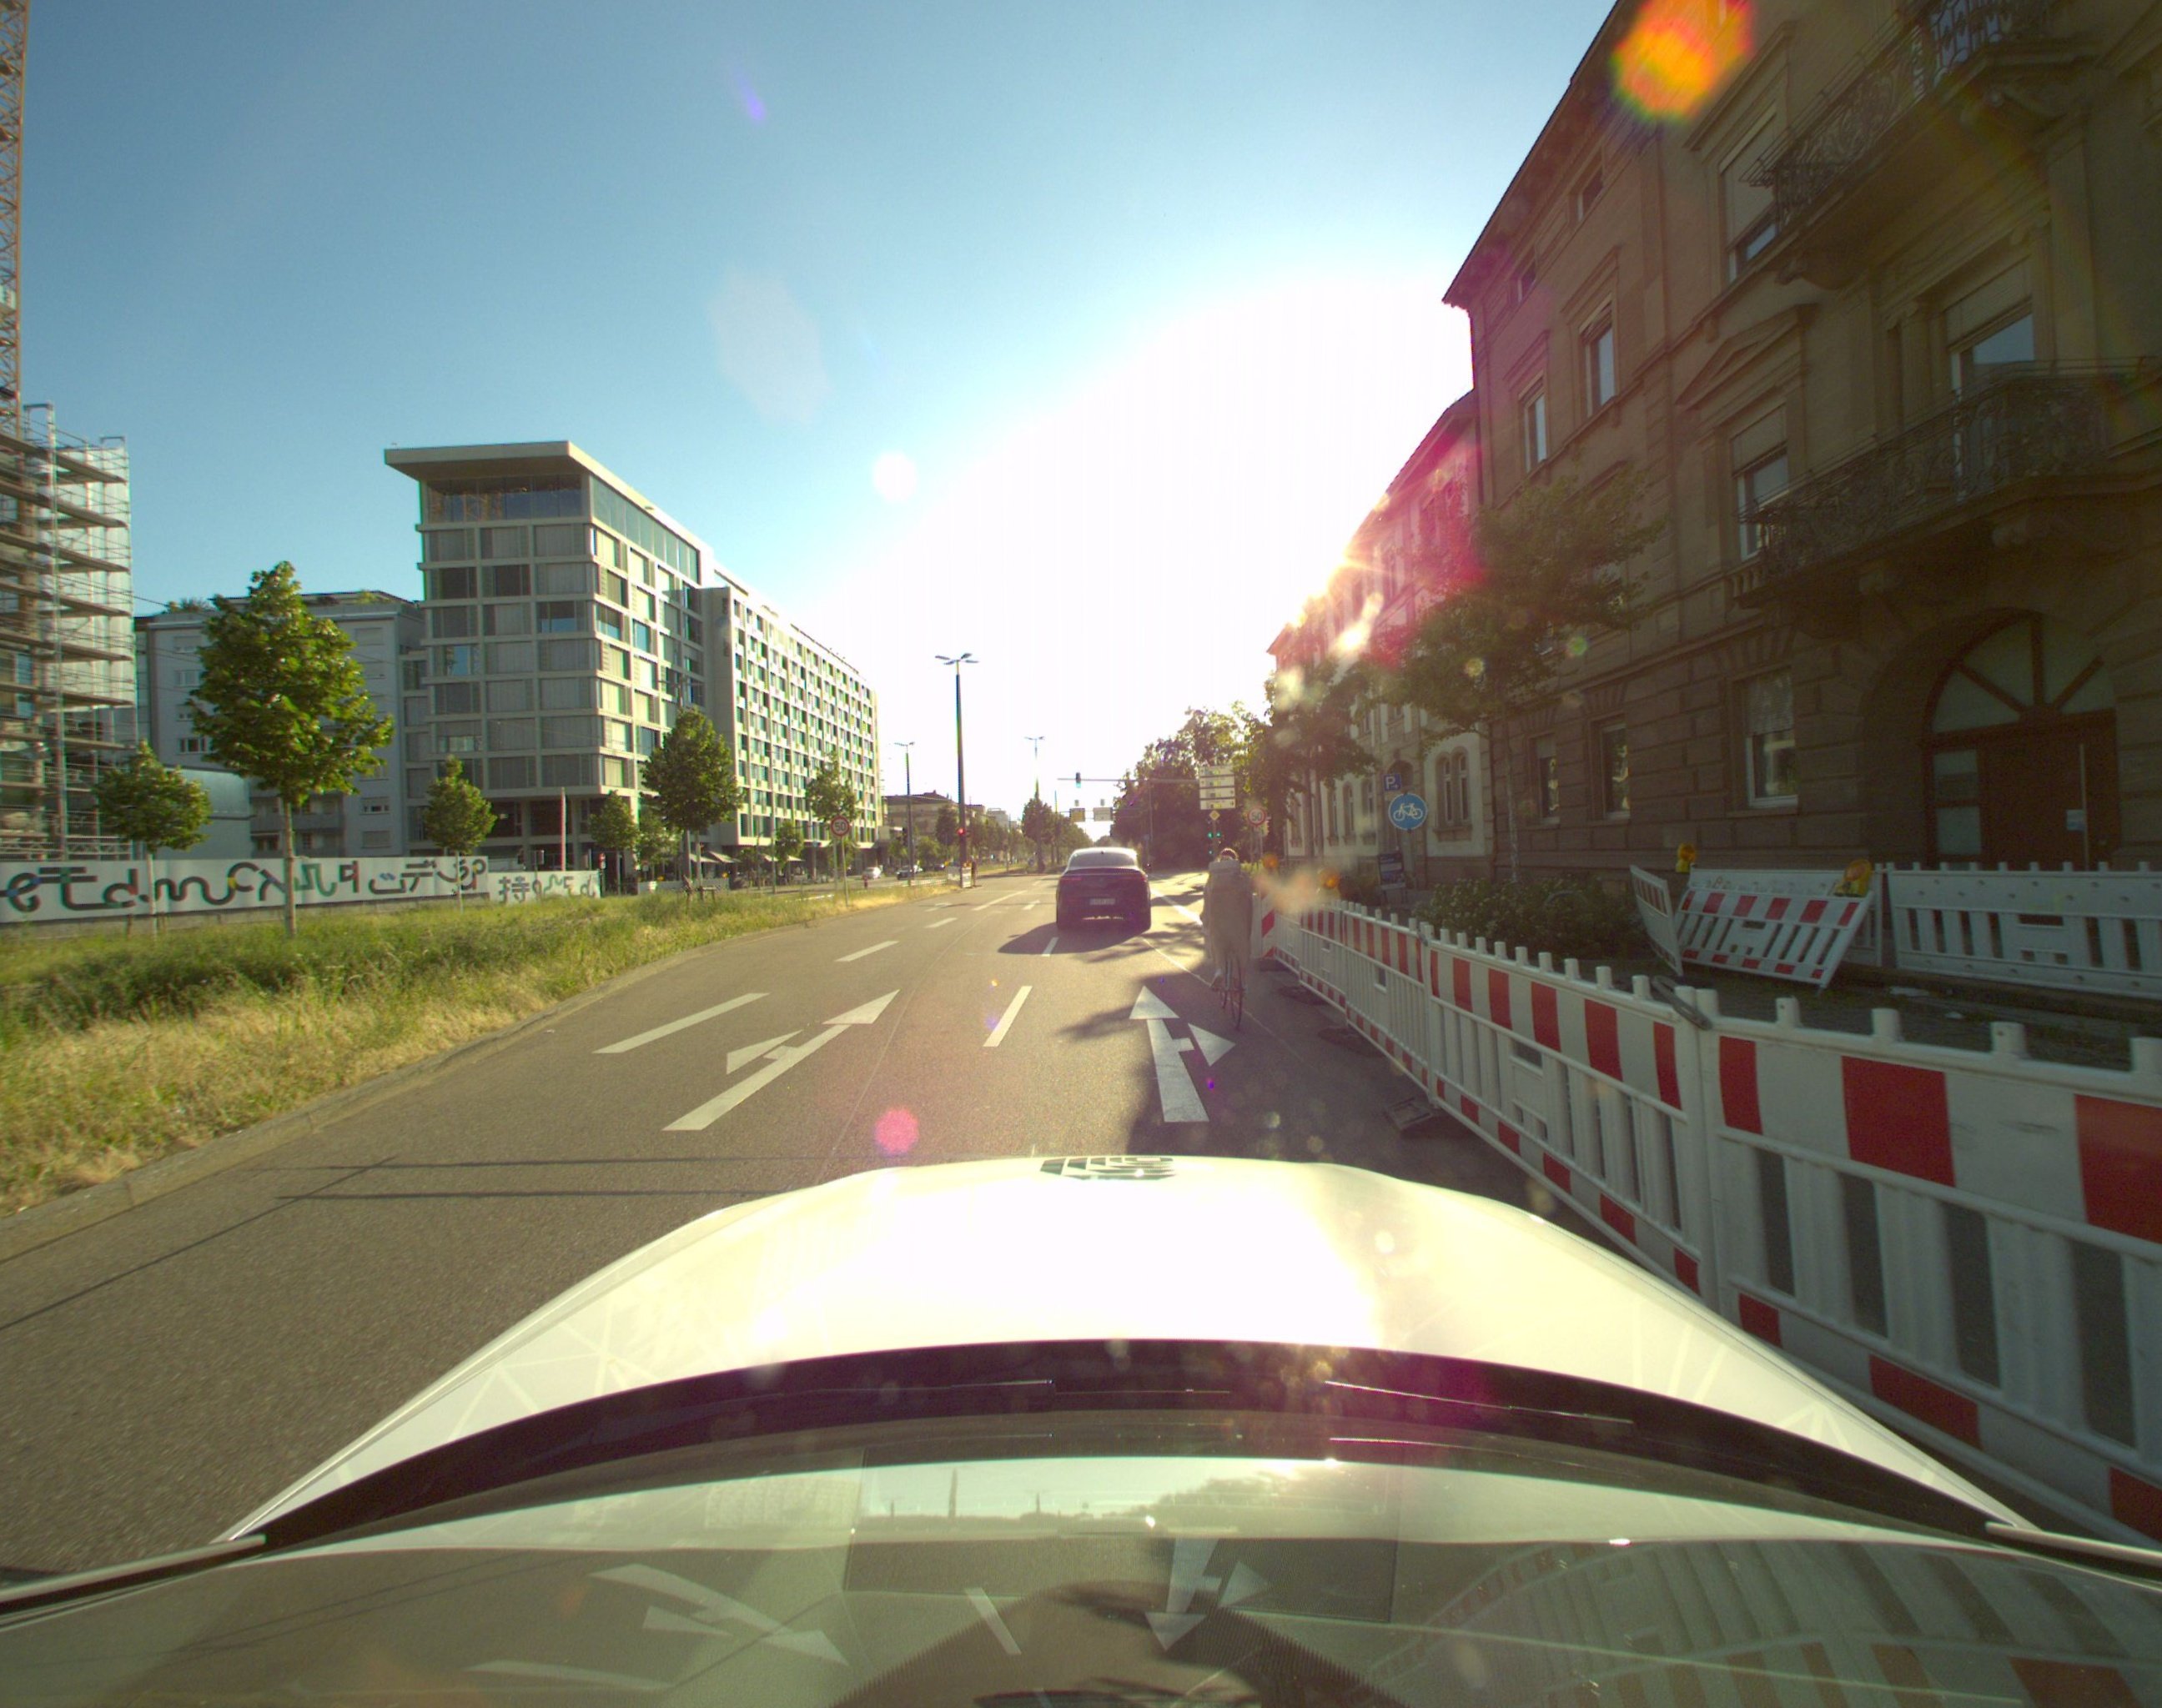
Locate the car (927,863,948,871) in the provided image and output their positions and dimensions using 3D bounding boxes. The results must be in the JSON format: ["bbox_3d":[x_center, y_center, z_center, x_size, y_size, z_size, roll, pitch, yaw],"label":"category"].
[{"bbox_3d":[-26.556,2.405,150.919,3.643,1.523,1.602,0,-1,-39],"label":"car"}]

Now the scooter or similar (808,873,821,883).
[{"bbox_3d":[-28.777,2.598,87.897,1.238,1.019,0.435,-3,0,2],"label":"scooter or similar"}]

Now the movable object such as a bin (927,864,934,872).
[{"bbox_3d":[-26.187,2.438,141.932,0.851,1.280,0.944,-2,0,16],"label":"movable object such as a bin"}]

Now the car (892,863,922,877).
[{"bbox_3d":[-18.404,1.704,86.298,1.884,1.343,4.852,-2,0,2],"label":"car"}]

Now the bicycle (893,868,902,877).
[{"bbox_3d":[-25.356,2.549,112.604,0.622,1.067,2.079,-2,0,3],"label":"bicycle"}]

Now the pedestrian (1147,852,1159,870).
[{"bbox_3d":[6.547,0.648,73.926,0.766,1.636,0.768,-4,0,-8],"label":"pedestrian"}]

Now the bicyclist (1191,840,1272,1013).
[{"bbox_3d":[1.386,0.629,7.667,0.550,1.491,1.082,-2,0,2],"label":"bicyclist"}]

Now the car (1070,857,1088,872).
[{"bbox_3d":[-0.188,1.196,93.613,1.879,1.580,4.001,-1,0,1],"label":"car"}]

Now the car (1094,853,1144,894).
[{"bbox_3d":[1.536,0.753,33.773,1.890,1.527,4.060,-2,0,1],"label":"car"}]

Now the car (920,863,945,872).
[{"bbox_3d":[-26.867,2.381,147.259,4.116,1.601,1.730,1,0,-39],"label":"car"}]

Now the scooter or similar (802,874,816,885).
[{"bbox_3d":[-28.807,2.692,86.369,1.238,1.019,0.511,-3,0,2],"label":"scooter or similar"}]

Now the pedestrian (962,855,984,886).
[{"bbox_3d":[-5.968,0.882,44.842,0.917,1.649,0.768,-2,-1,14],"label":"pedestrian"}]

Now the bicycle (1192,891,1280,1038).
[{"bbox_3d":[1.400,0.948,7.611,0.518,1.097,1.844,-2,0,3],"label":"bicycle"}]

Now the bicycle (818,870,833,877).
[{"bbox_3d":[-35.169,2.664,112.087,1.801,0.905,0.511,-2,0,-5],"label":"bicycle"}]

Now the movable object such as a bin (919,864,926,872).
[{"bbox_3d":[-27.581,2.462,141.645,0.851,1.357,0.944,-2,0,16],"label":"movable object such as a bin"}]

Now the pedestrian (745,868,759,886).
[{"bbox_3d":[-32.351,2.274,80.110,0.863,1.721,0.806,-2,0,11],"label":"pedestrian"}]

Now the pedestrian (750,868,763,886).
[{"bbox_3d":[-32.243,2.274,80.902,0.863,1.721,0.806,-2,0,11],"label":"pedestrian"}]

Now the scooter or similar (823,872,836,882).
[{"bbox_3d":[-28.522,2.602,92.439,1.238,1.019,0.435,-3,0,2],"label":"scooter or similar"}]

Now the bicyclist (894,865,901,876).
[{"bbox_3d":[-25.354,2.223,112.624,0.622,1.465,0.851,-2,0,3],"label":"bicyclist"}]

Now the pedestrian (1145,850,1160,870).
[{"bbox_3d":[6.543,0.567,74.773,0.863,1.802,0.898,-4,0,-33],"label":"pedestrian"}]

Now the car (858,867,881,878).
[{"bbox_3d":[-27.853,2.414,107.395,1.750,1.328,4.002,-1,0,2],"label":"car"}]

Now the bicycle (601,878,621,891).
[{"bbox_3d":[-38.835,2.504,67.309,0.533,0.936,1.901,-2,0,2],"label":"bicycle"}]

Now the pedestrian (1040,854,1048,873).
[{"bbox_3d":[-3.449,0.895,75.393,0.595,1.699,0.715,-2,0,7],"label":"pedestrian"}]

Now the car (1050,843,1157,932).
[{"bbox_3d":[0.622,0.655,18.285,1.983,1.734,4.008,-1,0,7],"label":"car"}]
